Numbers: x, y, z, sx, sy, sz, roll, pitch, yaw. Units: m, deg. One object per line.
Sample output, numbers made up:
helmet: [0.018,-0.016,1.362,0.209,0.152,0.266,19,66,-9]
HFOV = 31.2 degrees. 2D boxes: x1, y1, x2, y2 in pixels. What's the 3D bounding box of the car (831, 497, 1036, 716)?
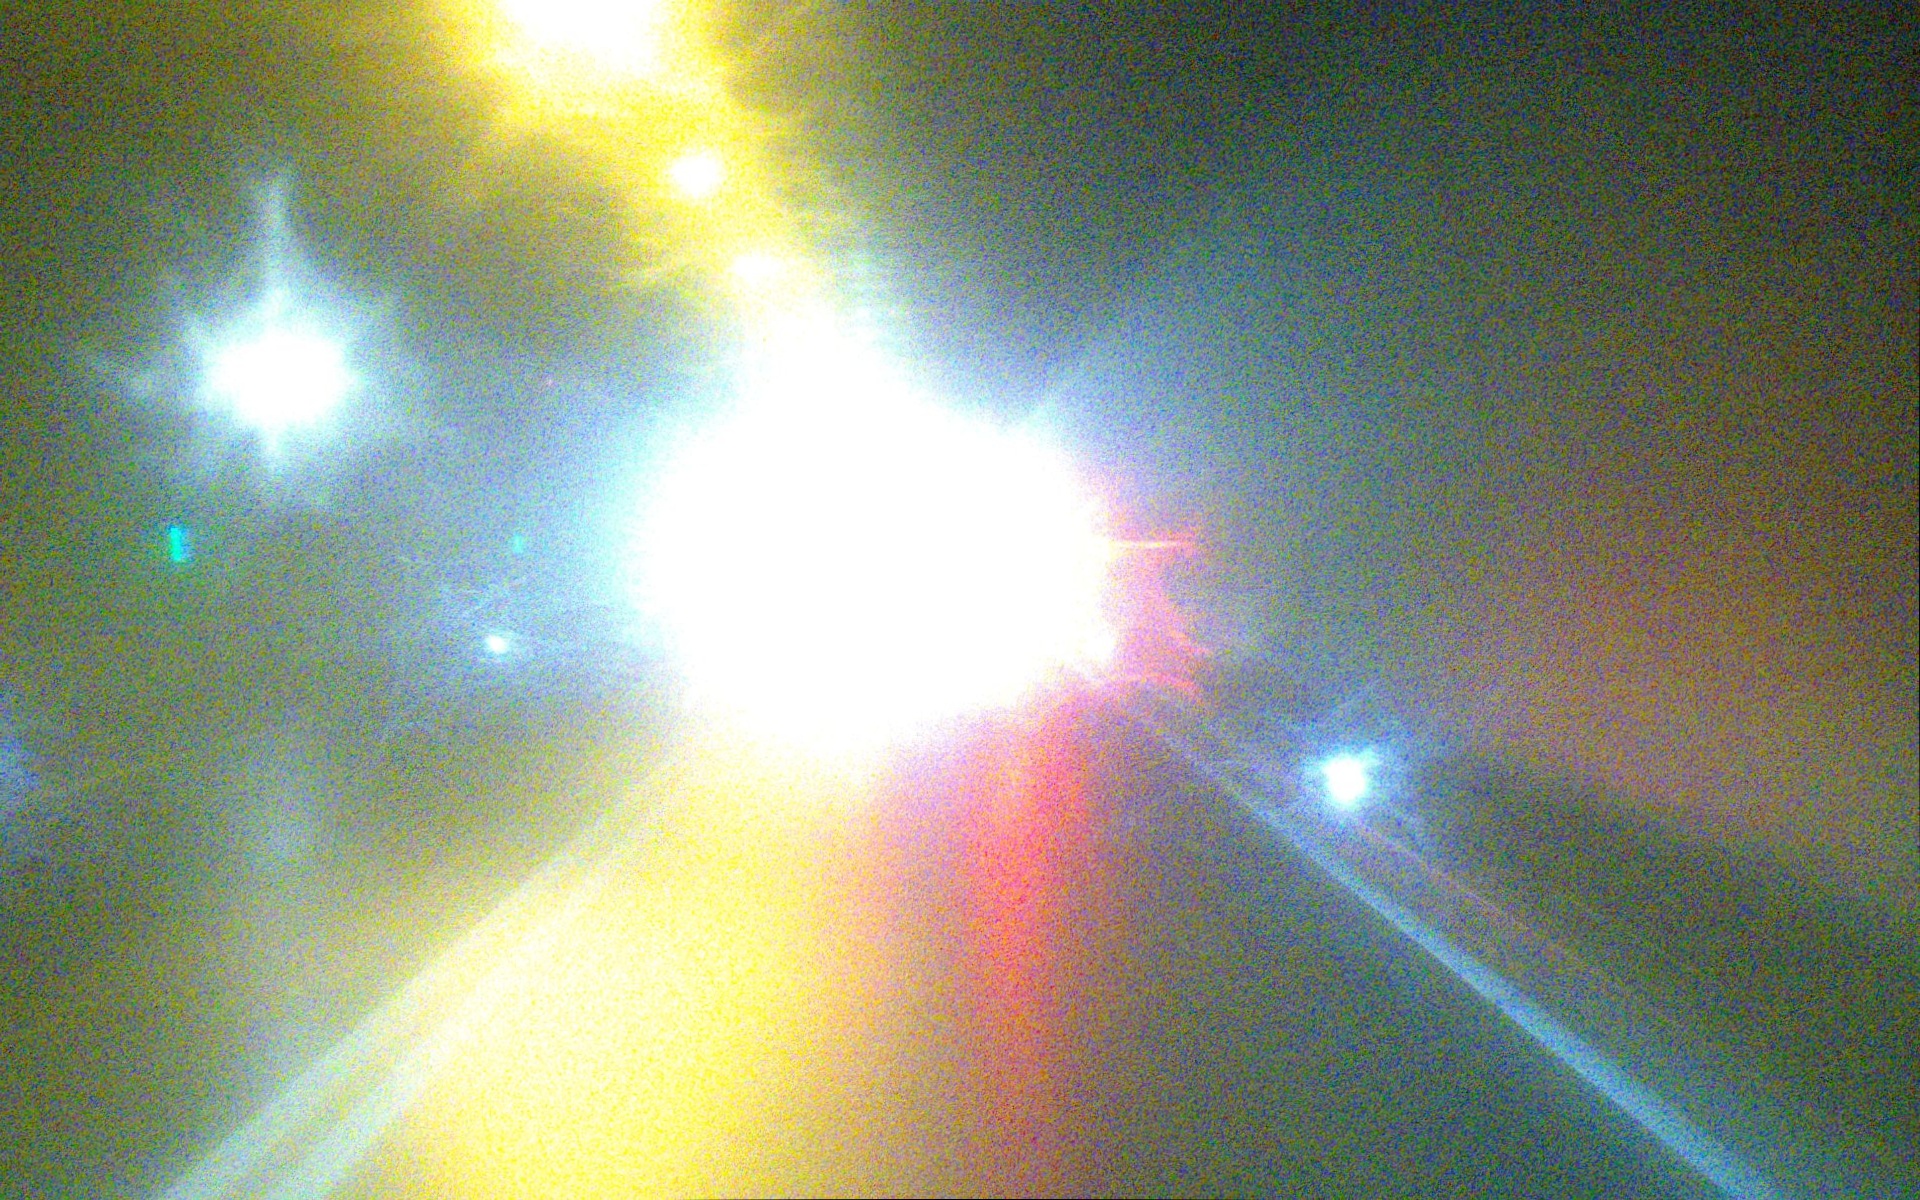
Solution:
car: [-0.212,-0.005,29.806,1.635,1.752,4.146,-1,2,0]
